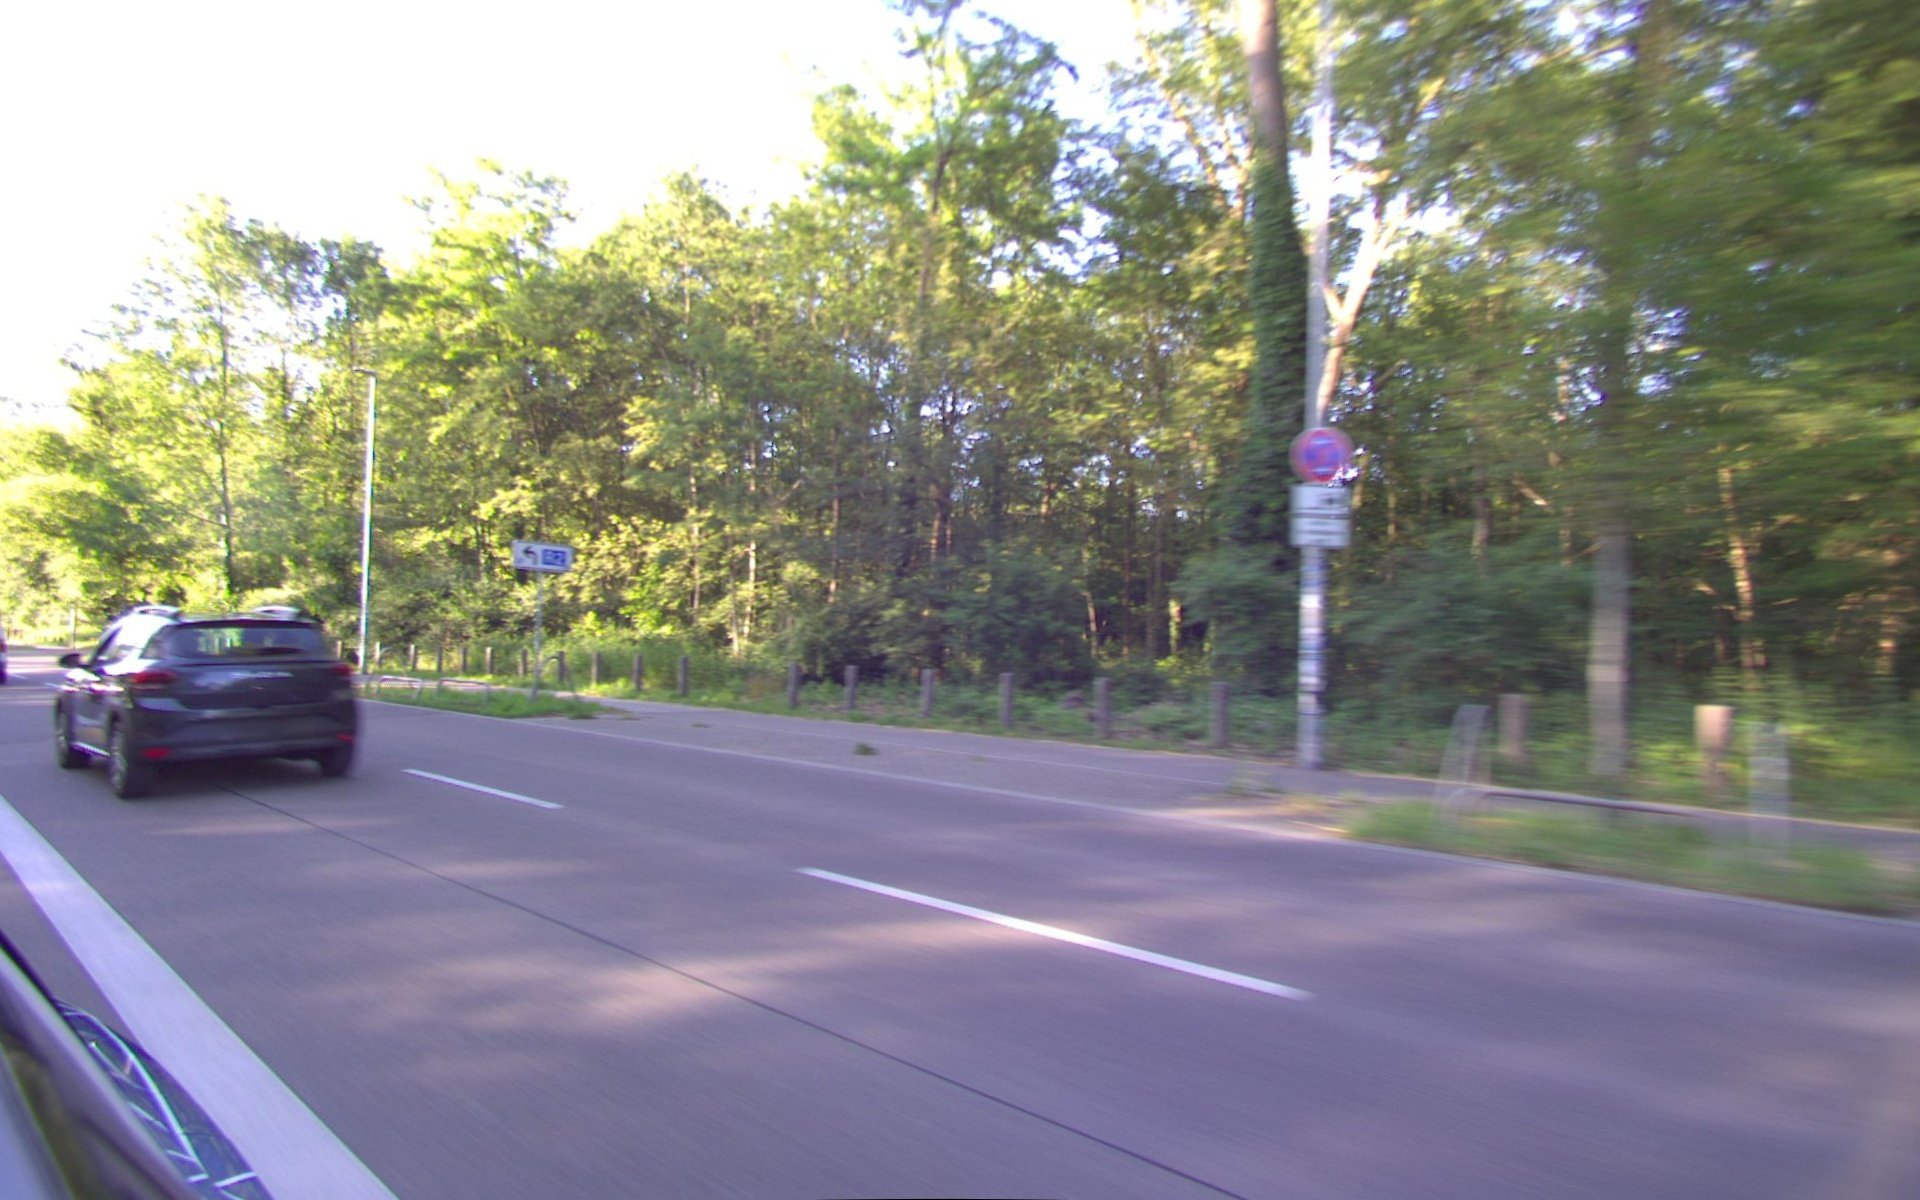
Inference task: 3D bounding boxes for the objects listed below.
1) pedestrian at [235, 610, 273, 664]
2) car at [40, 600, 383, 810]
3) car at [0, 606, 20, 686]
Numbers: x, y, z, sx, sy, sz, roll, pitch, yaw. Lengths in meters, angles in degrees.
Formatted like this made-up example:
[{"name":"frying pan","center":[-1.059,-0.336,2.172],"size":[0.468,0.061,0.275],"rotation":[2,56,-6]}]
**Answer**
[{"name":"pedestrian","center":[-23.767,1.258,34.070],"size":[0.736,1.781,0.764],"rotation":[-1,-4,35]},{"name":"car","center":[-7.194,0.833,9.575],"size":[4.088,1.556,1.786],"rotation":[-1,-2,42]},{"name":"car","center":[-23.349,1.023,23.277],"size":[4.795,1.770,1.887],"rotation":[-1,-2,40]}]
